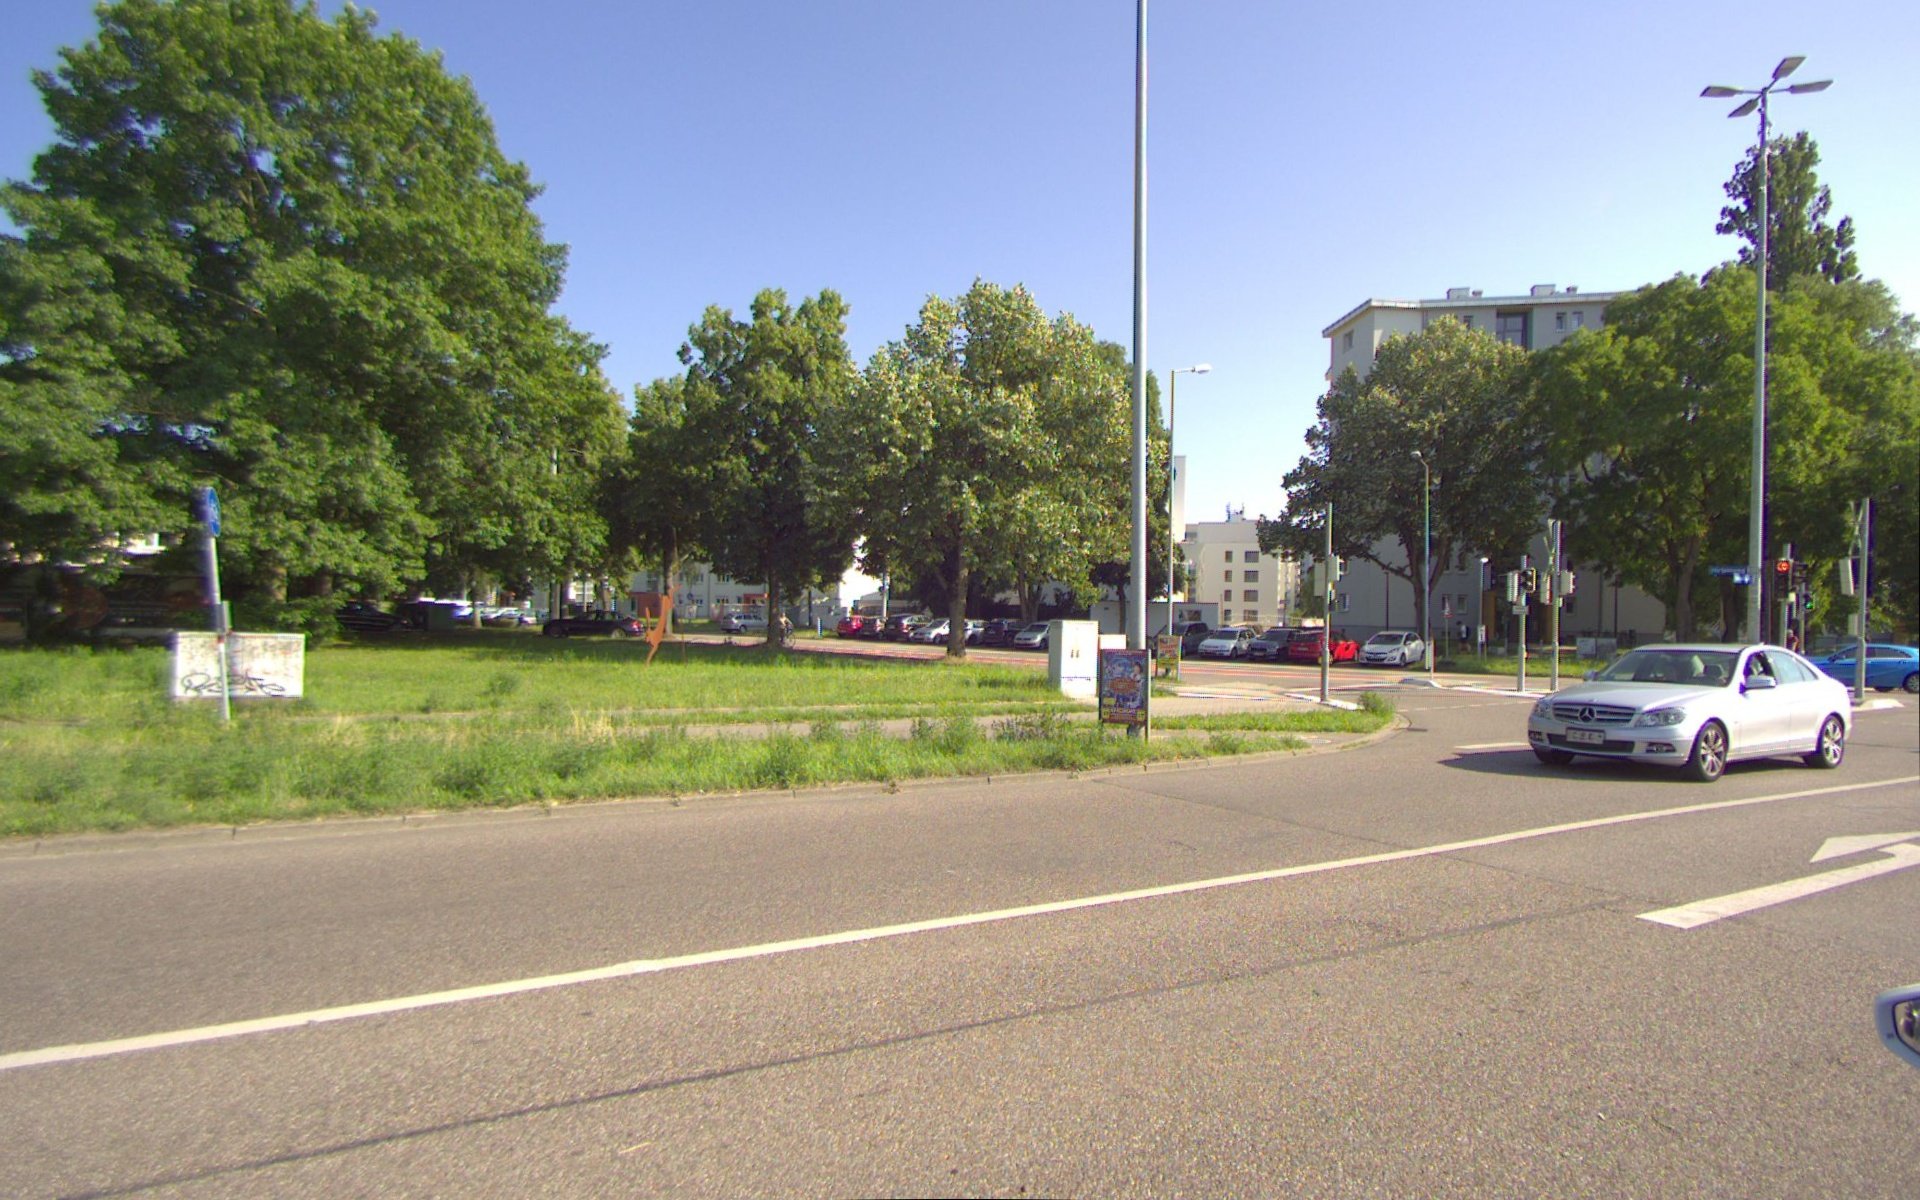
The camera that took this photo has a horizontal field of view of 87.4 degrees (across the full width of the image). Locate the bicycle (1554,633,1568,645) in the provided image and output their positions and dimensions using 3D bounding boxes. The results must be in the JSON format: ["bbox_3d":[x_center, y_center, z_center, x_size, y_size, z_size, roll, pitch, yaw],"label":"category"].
[{"bbox_3d":[37.960,2.464,63.486,0.574,0.718,2.236,1,0,26],"label":"bicycle"}]

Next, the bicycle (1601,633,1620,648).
[{"bbox_3d":[40.281,2.499,62.185,0.663,0.887,2.483,1,-1,26],"label":"bicycle"}]

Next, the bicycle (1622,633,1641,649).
[{"bbox_3d":[41.226,2.513,61.703,0.658,0.932,2.404,1,-1,26],"label":"bicycle"}]

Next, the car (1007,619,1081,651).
[{"bbox_3d":[4.782,1.947,56.639,1.758,1.497,4.692,1,2,40],"label":"car"}]

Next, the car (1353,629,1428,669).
[{"bbox_3d":[18.907,2.112,44.033,1.760,1.459,3.976,1,2,43],"label":"car"}]

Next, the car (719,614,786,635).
[{"bbox_3d":[-15.538,1.868,75.315,1.761,1.497,4.785,0,-1,44],"label":"car"}]

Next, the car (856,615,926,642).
[{"bbox_3d":[-4.456,1.820,65.786,1.758,1.497,4.791,1,2,40],"label":"car"}]

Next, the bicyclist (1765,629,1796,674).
[{"bbox_3d":[29.490,1.833,36.112,0.591,1.581,0.609,1,-1,2],"label":"bicyclist"}]

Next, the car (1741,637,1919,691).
[{"bbox_3d":[26.618,1.920,30.547,4.159,1.433,1.786,1,-1,16],"label":"car"}]

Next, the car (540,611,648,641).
[{"bbox_3d":[-17.795,1.261,48.952,4.682,1.338,1.524,1,-1,-8],"label":"car"}]

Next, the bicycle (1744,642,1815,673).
[{"bbox_3d":[29.450,2.072,36.113,2.030,1.054,0.622,1,-1,1],"label":"bicycle"}]

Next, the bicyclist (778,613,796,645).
[{"bbox_3d":[-8.697,1.453,50.495,0.617,1.544,0.616,1,1,34],"label":"bicyclist"}]

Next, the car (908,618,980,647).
[{"bbox_3d":[-0.937,1.944,61.580,1.758,1.497,4.791,1,2,40],"label":"car"}]

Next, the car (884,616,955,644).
[{"bbox_3d":[-2.494,1.887,63.517,1.758,1.497,4.791,1,2,40],"label":"car"}]

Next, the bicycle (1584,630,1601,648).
[{"bbox_3d":[39.314,2.455,62.453,0.601,1.080,1.916,2,-2,24],"label":"bicycle"}]

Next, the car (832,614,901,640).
[{"bbox_3d":[-6.208,1.804,67.267,1.758,1.497,4.791,1,2,40],"label":"car"}]

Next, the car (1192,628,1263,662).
[{"bbox_3d":[13.157,2.173,49.327,1.759,1.541,3.979,1,-1,42],"label":"car"}]

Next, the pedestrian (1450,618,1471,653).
[{"bbox_3d":[25.121,1.800,50.413,0.693,1.736,0.623,1,0,-17],"label":"pedestrian"}]

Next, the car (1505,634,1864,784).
[{"bbox_3d":[8.503,1.156,11.732,4.315,1.484,1.696,1,-2,-28],"label":"car"}]

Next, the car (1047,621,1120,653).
[{"bbox_3d":[6.933,2.016,55.968,1.758,1.497,4.791,1,2,40],"label":"car"}]

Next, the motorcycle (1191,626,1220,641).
[{"bbox_3d":[17.569,2.384,71.920,2.003,0.977,0.527,1,0,5],"label":"motorcycle"}]

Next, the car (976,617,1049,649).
[{"bbox_3d":[3.140,1.900,58.729,1.758,1.497,4.790,1,3,40],"label":"car"}]

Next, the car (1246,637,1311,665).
[{"bbox_3d":[15.076,2.367,47.424,1.445,1.209,3.765,1,-1,43],"label":"car"}]

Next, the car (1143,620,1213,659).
[{"bbox_3d":[11.150,1.990,51.181,1.759,1.835,3.979,1,-1,42],"label":"car"}]

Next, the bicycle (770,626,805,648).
[{"bbox_3d":[-8.685,1.854,50.496,1.779,0.915,0.652,5,2,35],"label":"bicycle"}]

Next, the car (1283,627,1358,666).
[{"bbox_3d":[16.555,2.098,46.004,1.761,1.435,3.974,1,3,44],"label":"car"}]

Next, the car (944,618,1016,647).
[{"bbox_3d":[1.251,1.912,60.320,1.758,1.497,4.754,1,2,40],"label":"car"}]
